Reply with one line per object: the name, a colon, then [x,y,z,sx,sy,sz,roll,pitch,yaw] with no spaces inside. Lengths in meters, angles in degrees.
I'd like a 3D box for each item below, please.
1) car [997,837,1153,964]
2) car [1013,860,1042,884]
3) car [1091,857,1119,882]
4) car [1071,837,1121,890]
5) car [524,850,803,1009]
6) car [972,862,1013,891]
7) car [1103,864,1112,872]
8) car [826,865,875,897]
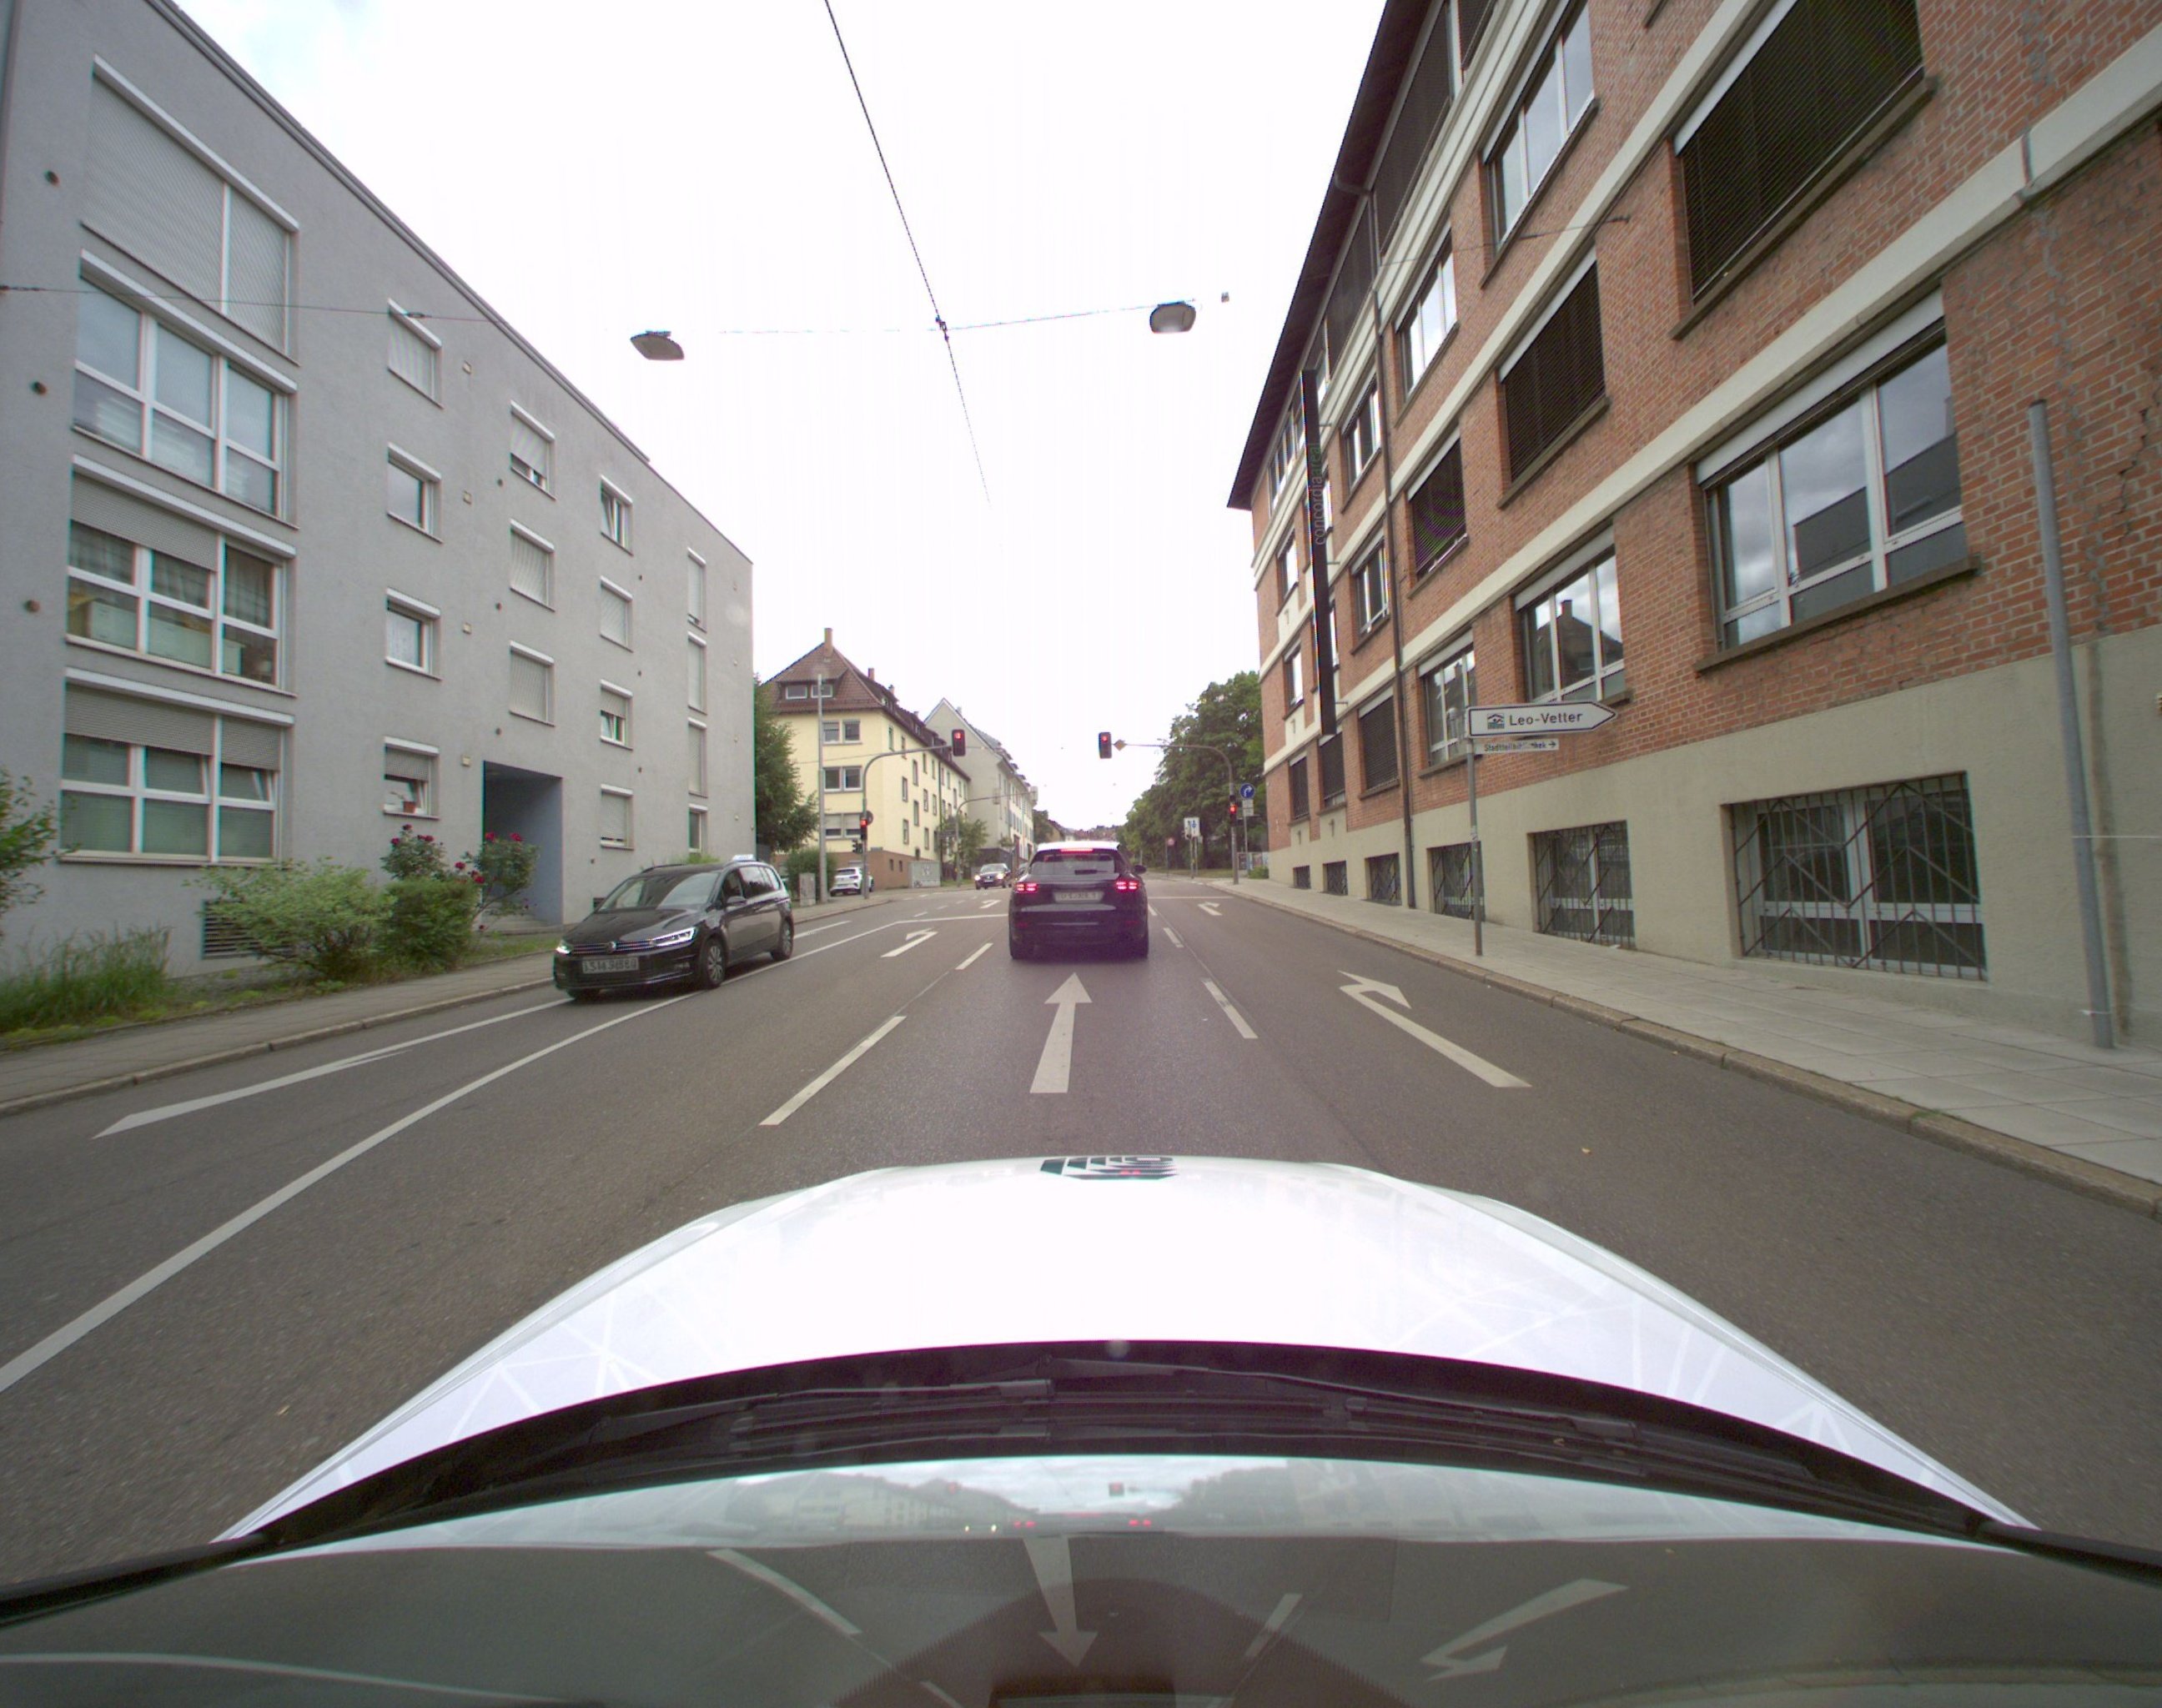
car: [0.002,0.606,12.893,2.040,1.666,4.269,-1,0,2]
car: [-4.099,1.352,62.520,1.697,1.587,3.938,-4,0,2]
car: [1.655,1.063,56.041,1.820,1.605,4.137,-1,0,2]
car: [0.662,0.364,34.292,1.957,2.042,4.137,-1,0,2]
car: [-5.577,0.879,11.601,1.780,1.706,4.302,-4,0,-3]
car: [-4.921,1.244,45.813,1.667,1.400,3.796,-4,0,2]
car: [5.293,2.791,164.173,1.820,1.605,4.137,-1,0,2]
car: [-13.095,1.511,46.437,1.686,1.555,3.763,-4,0,-2]
